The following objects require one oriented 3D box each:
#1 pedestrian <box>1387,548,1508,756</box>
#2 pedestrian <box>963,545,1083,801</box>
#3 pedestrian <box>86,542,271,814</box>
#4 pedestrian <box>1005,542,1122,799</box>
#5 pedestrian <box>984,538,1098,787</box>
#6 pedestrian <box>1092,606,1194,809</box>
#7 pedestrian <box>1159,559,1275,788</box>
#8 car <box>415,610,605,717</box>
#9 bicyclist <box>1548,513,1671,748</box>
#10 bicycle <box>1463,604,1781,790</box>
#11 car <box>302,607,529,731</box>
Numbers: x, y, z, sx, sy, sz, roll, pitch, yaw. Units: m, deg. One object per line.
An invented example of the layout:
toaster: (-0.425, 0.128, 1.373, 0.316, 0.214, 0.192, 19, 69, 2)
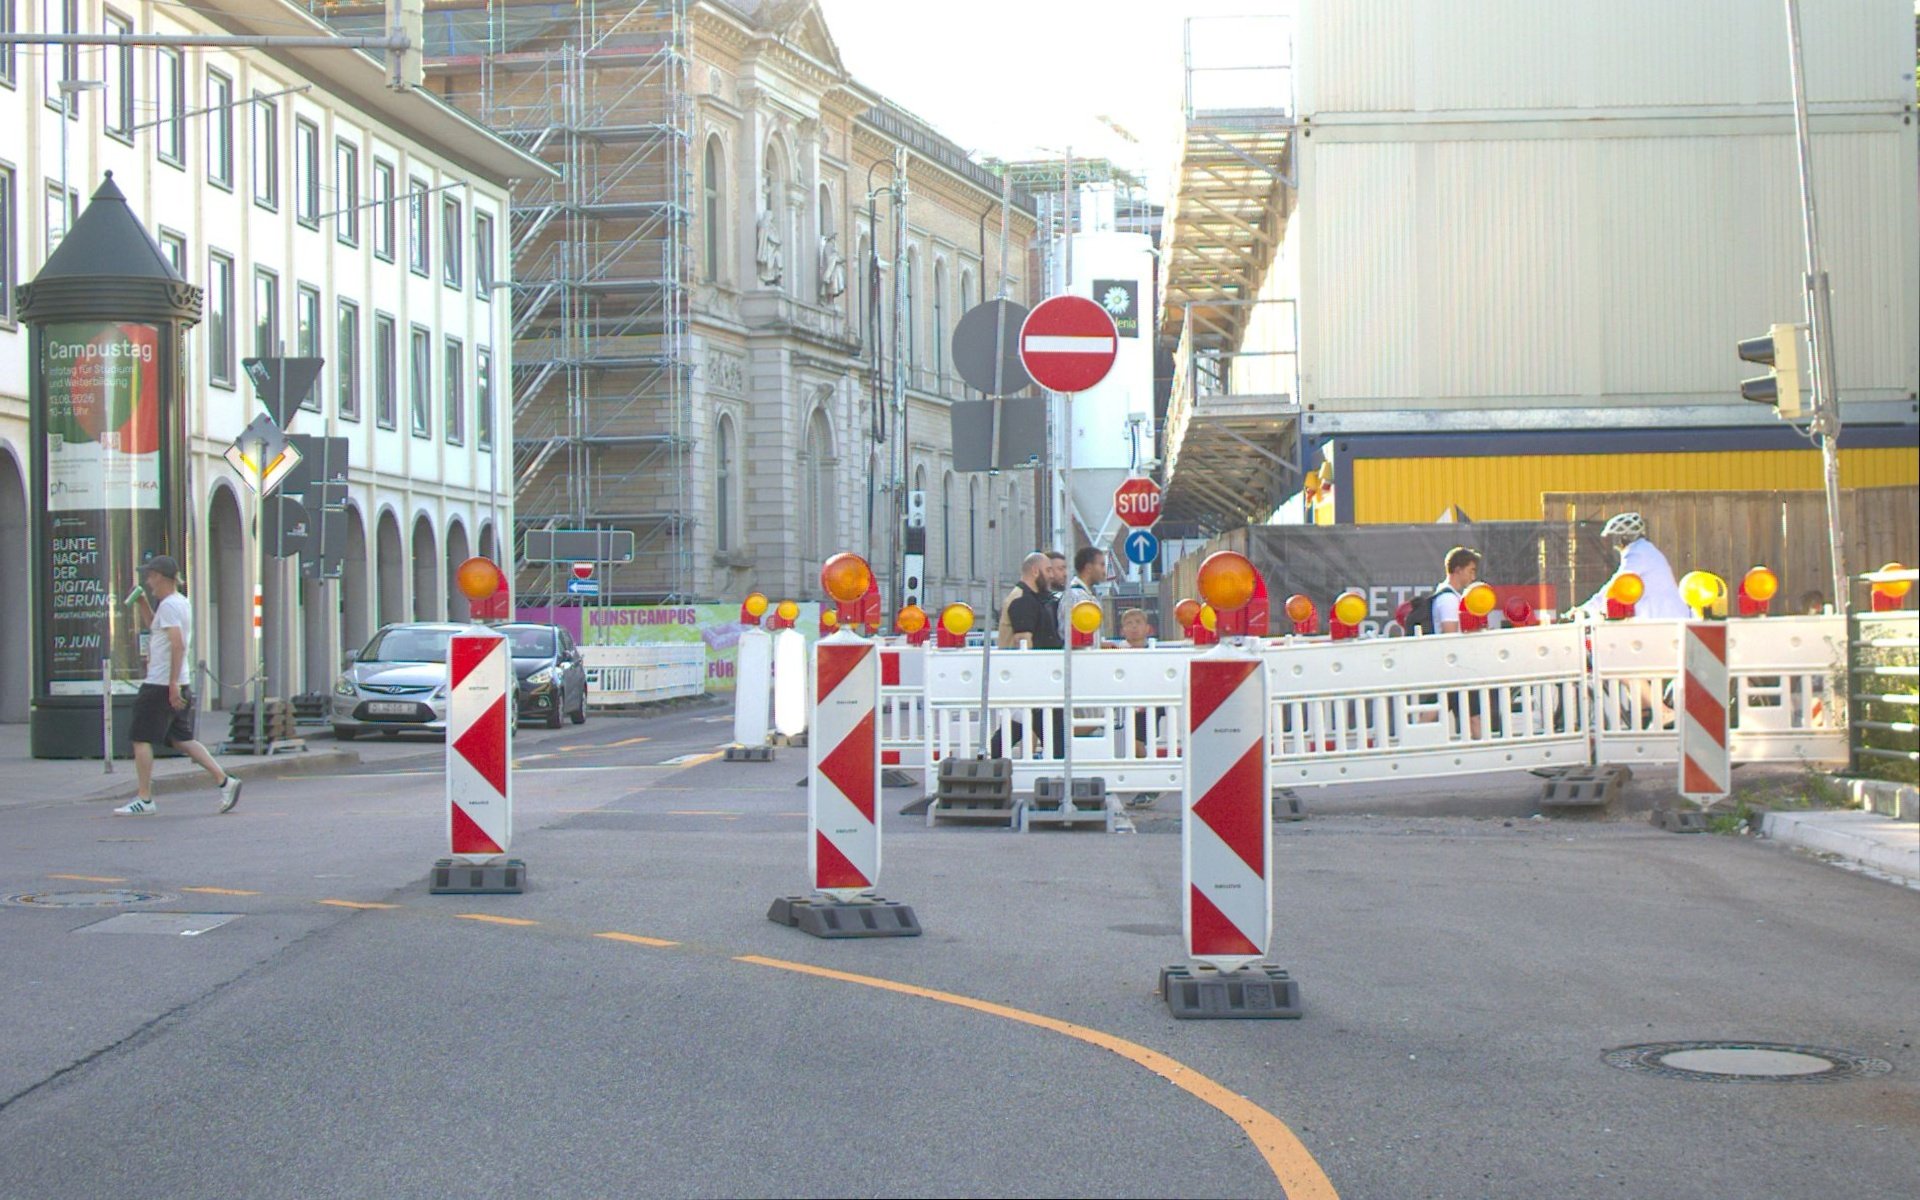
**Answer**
pedestrian: (3.537, 0.371, 24.973, 0.768, 1.457, 0.666, -2, 0, 4)
pedestrian: (0.441, 0.496, 23.686, 0.737, 1.710, 0.622, -2, 0, 4)
pedestrian: (-5.137, 0.508, 22.641, 0.974, 1.723, 0.798, -2, -1, 0)
pedestrian: (0.737, 0.492, 24.297, 0.737, 1.765, 0.622, -2, 0, 4)
pedestrian: (0.599, 0.448, 25.142, 0.737, 1.765, 0.723, -2, 0, 4)
pedestrian: (1.199, 0.695, 22.530, 0.618, 1.295, 0.494, 2, 0, 3)
pedestrian: (1.862, 0.527, 24.942, 0.768, 1.613, 0.666, -2, 0, 4)
car: (-6.453, 0.942, 49.730, 1.925, 1.461, 3.999, 1, -2, 4)
bicyclist: (4.253, 0.201, 22.556, 0.702, 1.511, 0.686, 0, -1, 4)
bicycle: (4.336, 0.634, 22.582, 1.992, 1.197, 0.477, 0, -1, 3)
car: (-6.773, 0.887, 43.174, 1.925, 1.461, 3.999, 1, -2, 4)
